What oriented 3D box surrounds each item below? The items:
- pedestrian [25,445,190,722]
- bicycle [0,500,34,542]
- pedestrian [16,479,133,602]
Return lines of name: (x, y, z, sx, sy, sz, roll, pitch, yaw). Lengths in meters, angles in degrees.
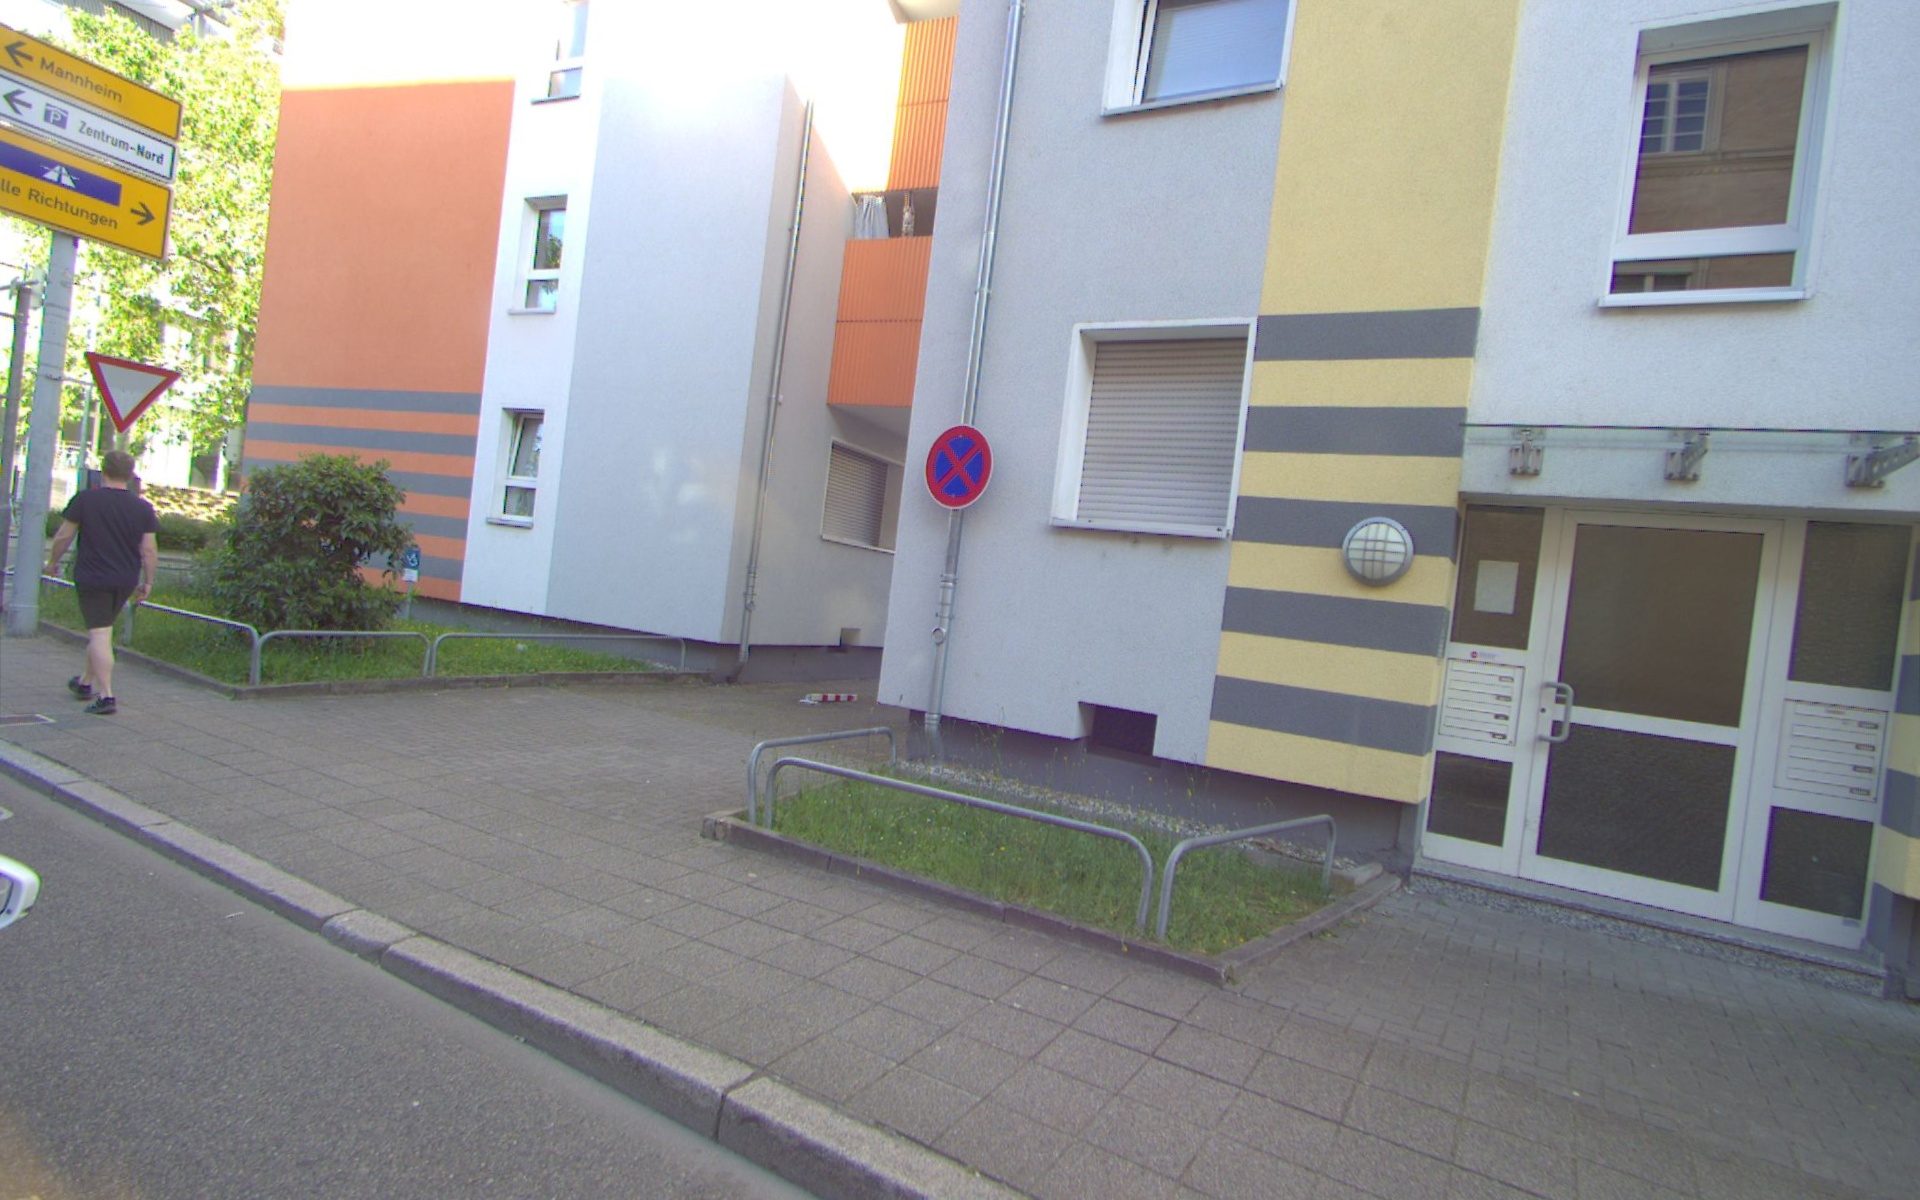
pedestrian: (-6.045, -0.133, 7.128, 0.901, 1.813, 0.643, 7, 4, 35)
bicycle: (-26.417, -2.232, 27.278, 1.883, 1.062, 0.463, 7, 1, -10)
pedestrian: (-12.410, -0.821, 14.121, 0.940, 1.595, 0.748, 5, 3, -8)
